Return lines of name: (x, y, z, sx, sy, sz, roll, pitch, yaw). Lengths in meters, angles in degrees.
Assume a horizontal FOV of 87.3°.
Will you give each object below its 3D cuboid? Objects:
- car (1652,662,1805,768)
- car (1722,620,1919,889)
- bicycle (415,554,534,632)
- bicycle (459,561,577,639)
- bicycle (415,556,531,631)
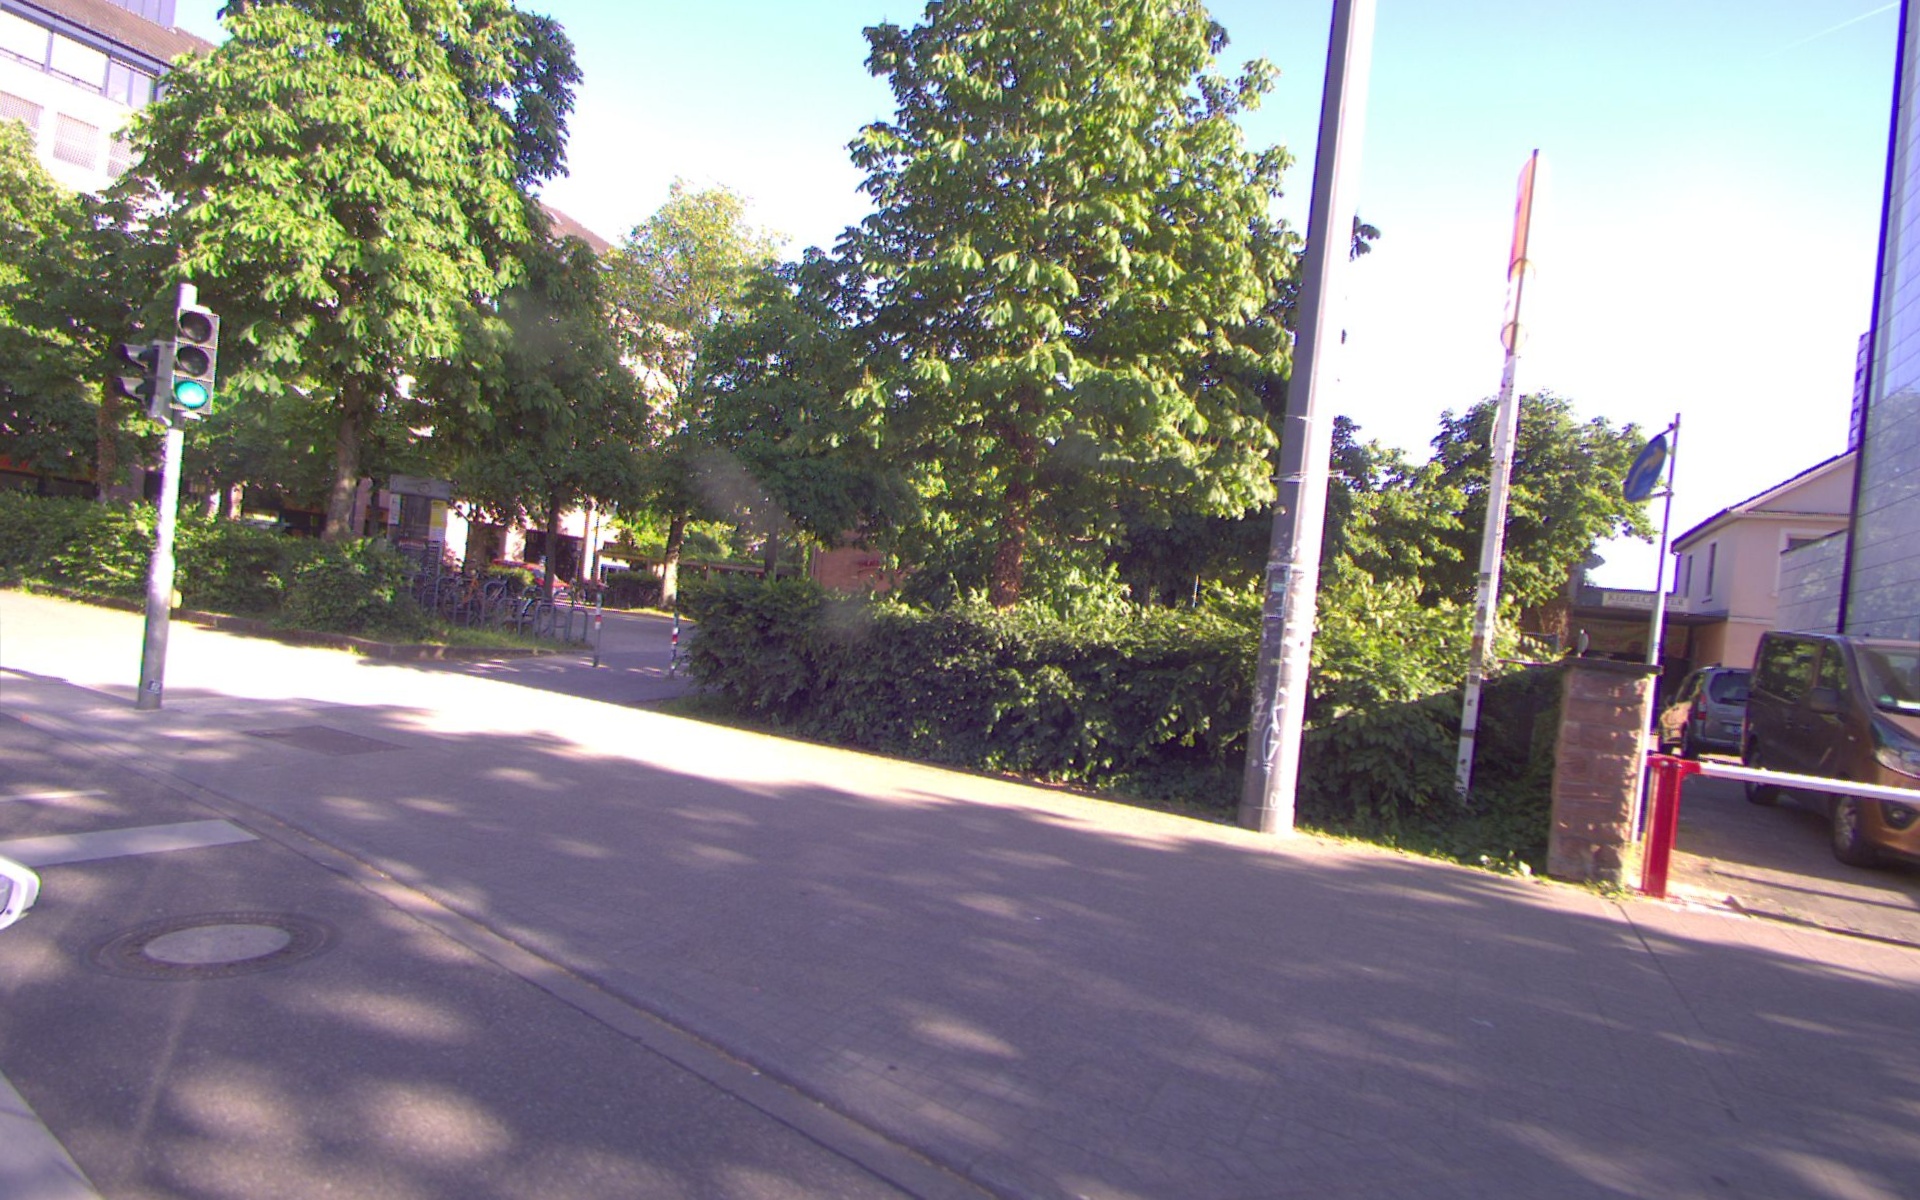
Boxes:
car: (14.732, 2.127, 19.483, 1.567, 1.692, 3.617, 6, 0, 27)
car: (8.994, 1.286, 9.470, 1.879, 2.011, 4.902, 6, 2, 27)
bicycle: (-9.188, -0.106, 19.124, 0.564, 1.331, 1.998, 6, 1, 30)
bicycle: (-8.164, 0.030, 18.681, 0.564, 1.331, 1.998, 6, 1, 30)
bicycle: (-9.527, -0.104, 19.759, 0.564, 1.331, 1.998, 6, 1, 30)
